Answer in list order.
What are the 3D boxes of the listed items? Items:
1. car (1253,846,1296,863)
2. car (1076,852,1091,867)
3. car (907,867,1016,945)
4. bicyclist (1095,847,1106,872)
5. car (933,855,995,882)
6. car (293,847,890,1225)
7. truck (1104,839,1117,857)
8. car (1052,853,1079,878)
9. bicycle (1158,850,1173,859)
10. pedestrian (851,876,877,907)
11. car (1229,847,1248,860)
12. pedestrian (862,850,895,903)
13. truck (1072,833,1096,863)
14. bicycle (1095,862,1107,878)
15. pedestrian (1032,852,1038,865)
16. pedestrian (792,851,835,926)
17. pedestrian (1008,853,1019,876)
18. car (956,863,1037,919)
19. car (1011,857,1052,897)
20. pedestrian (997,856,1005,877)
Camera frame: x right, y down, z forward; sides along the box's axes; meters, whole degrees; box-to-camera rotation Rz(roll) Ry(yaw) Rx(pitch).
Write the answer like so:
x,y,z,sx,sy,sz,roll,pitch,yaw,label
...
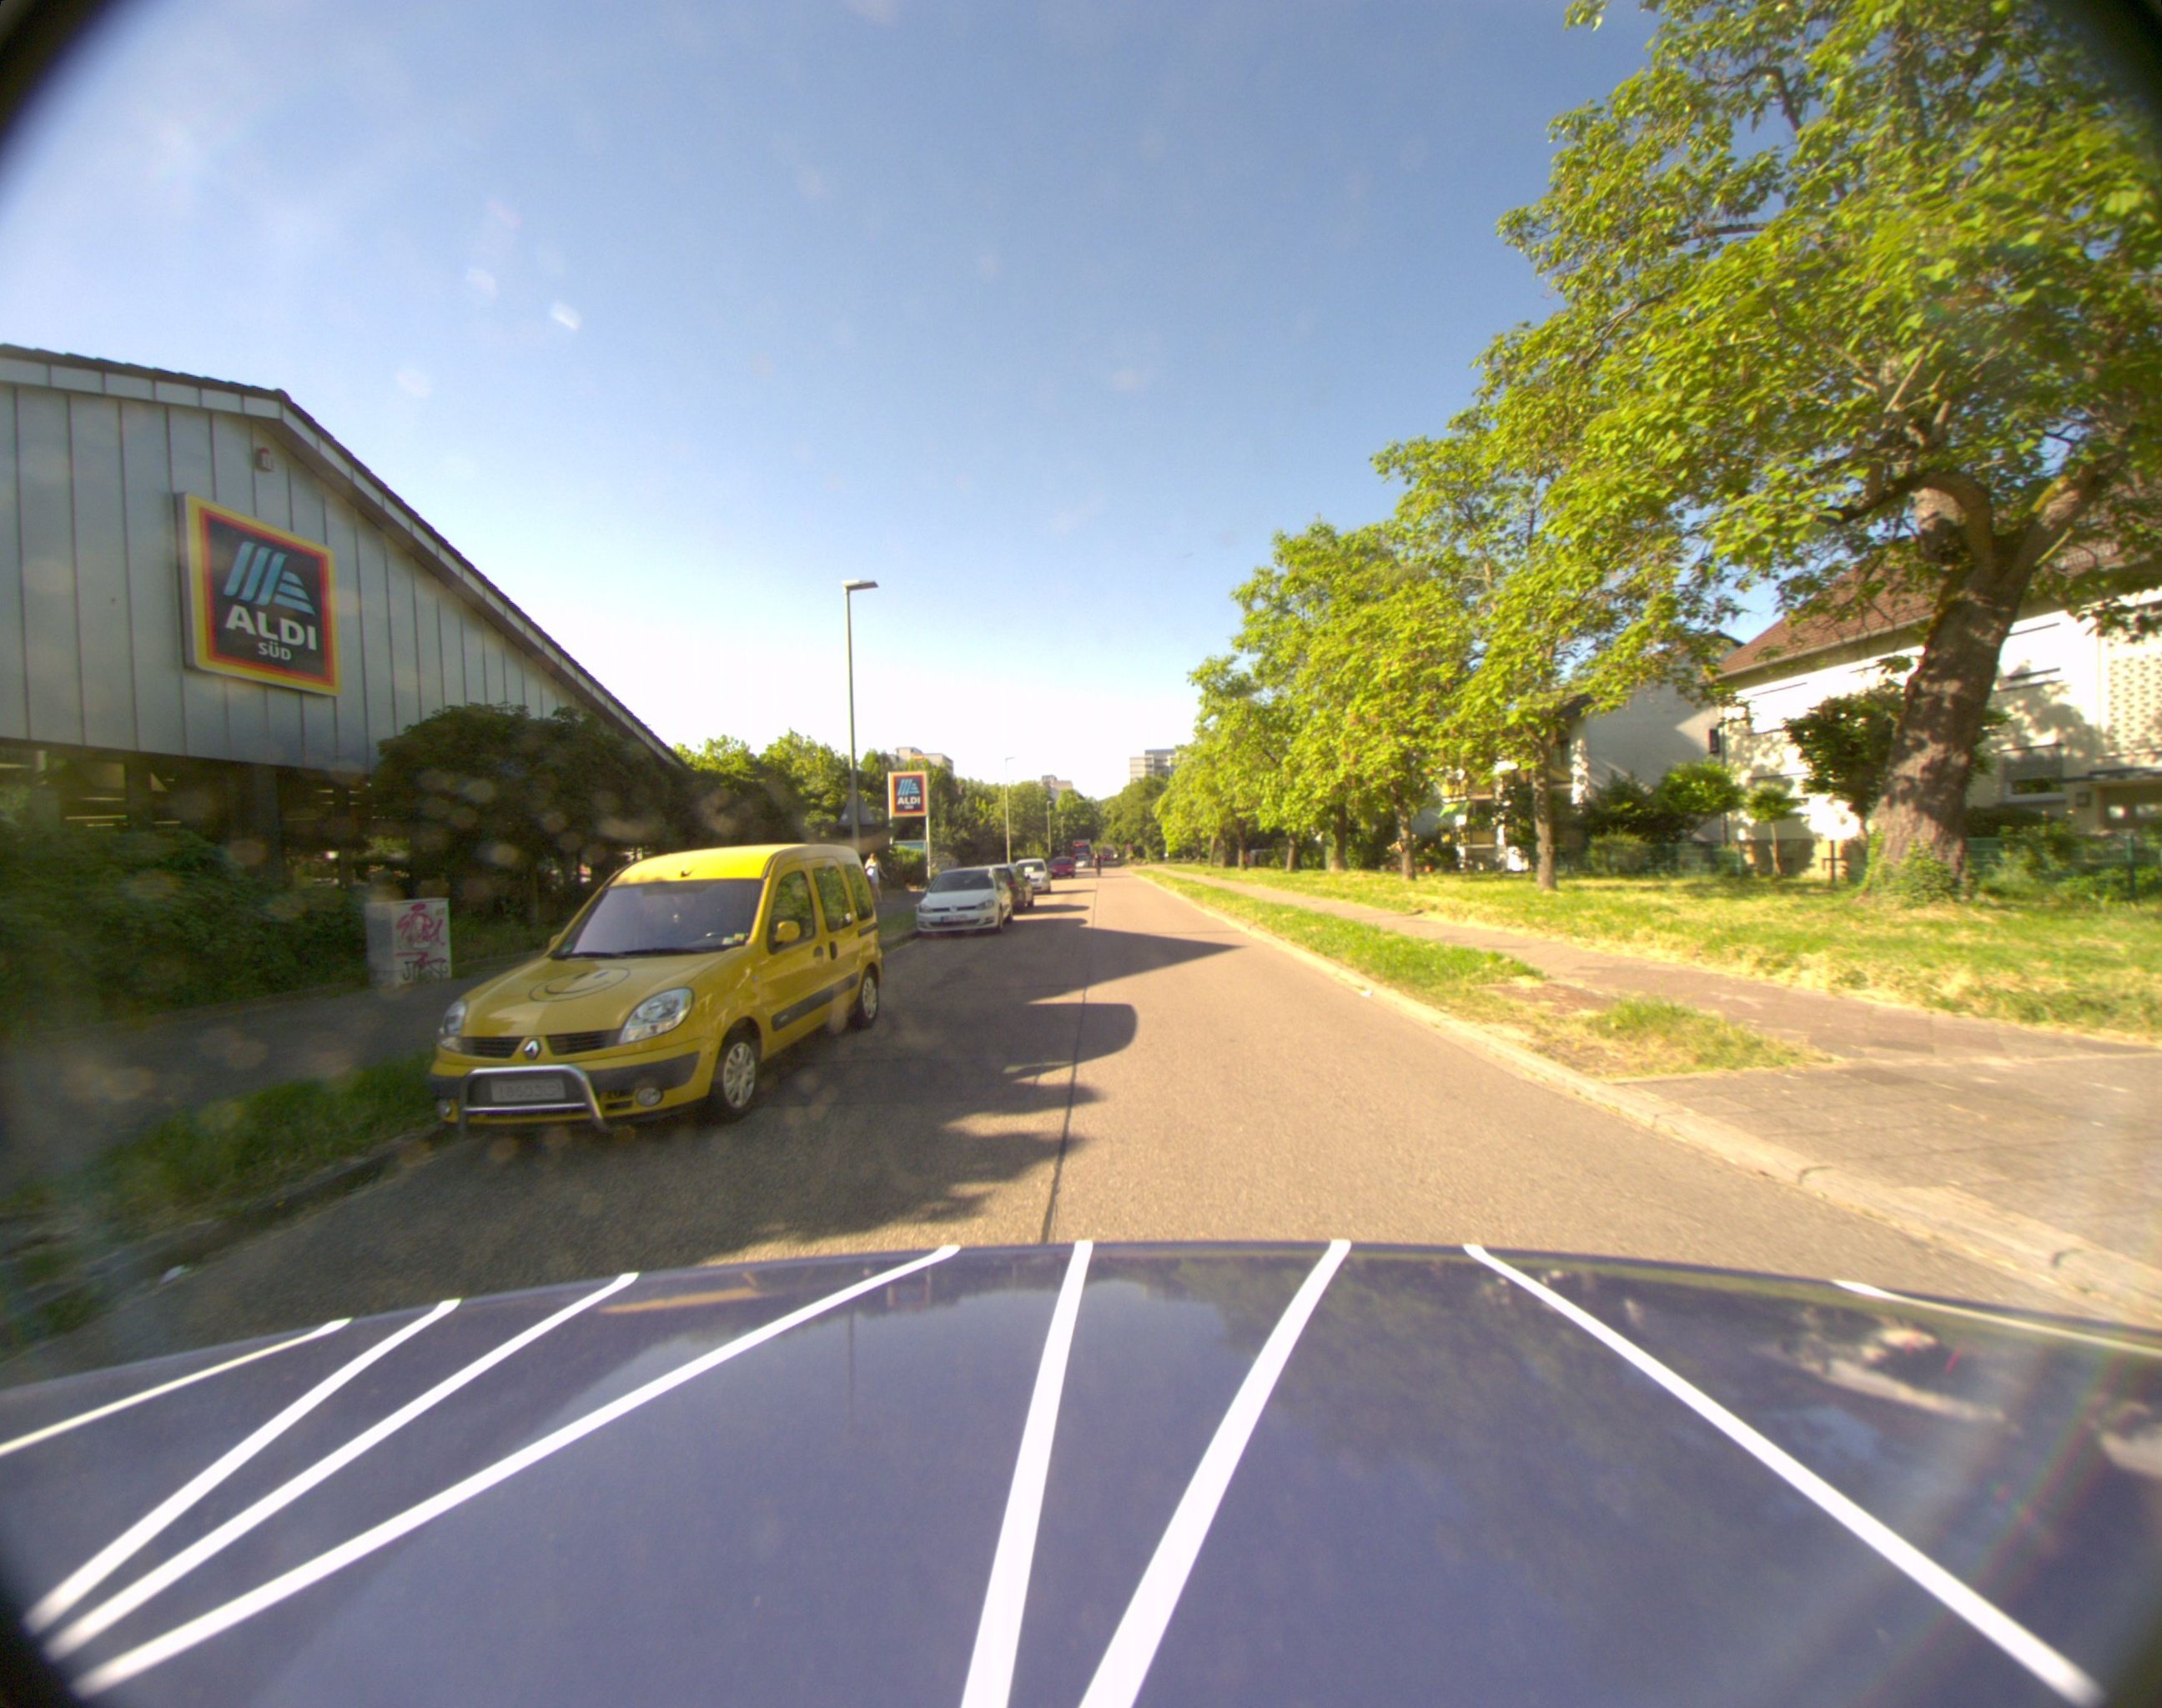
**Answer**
x,y,z,sx,sy,sz,roll,pitch,yaw,label
22.391,0.071,87.987,4.461,1.957,2.070,-1,0,4,car
0.329,0.735,100.838,1.845,1.795,4.029,-2,1,1,car
-2.608,1.100,17.520,1.831,1.443,3.999,-2,1,0,car
1.592,0.479,62.120,0.753,2.002,0.711,-2,1,0,bicyclist
-7.606,0.930,49.387,3.758,1.635,1.853,-1,0,-17,car
-2.921,0.892,5.745,1.728,1.827,4.000,-2,1,3,car
7.026,-1.534,181.409,2.803,3.996,9.623,0,2,0,truck
-1.181,0.889,60.982,1.844,1.795,4.654,-2,1,3,car
11.471,0.130,103.256,1.902,1.146,0.760,-1,4,12,bicycle
-7.274,1.245,25.490,0.533,0.975,0.811,-2,1,9,pedestrian
20.258,-0.050,97.809,1.674,1.479,3.884,-1,2,1,car
-6.992,0.769,26.302,0.800,1.771,0.809,-1,0,10,pedestrian
0.588,-0.989,116.710,3.166,4.320,10.584,-1,1,2,truck
1.622,1.270,61.960,0.863,1.164,3.031,-2,1,1,bicycle
-5.859,0.609,95.930,0.641,1.629,0.641,-1,1,4,pedestrian
-6.817,0.860,19.415,0.796,1.850,0.874,-2,1,-6,pedestrian
-5.120,0.814,57.591,0.806,1.707,0.983,0,2,-2,pedestrian
-2.481,1.048,23.328,1.812,1.435,4.363,-2,0,2,car
-2.192,0.989,34.706,1.684,1.590,4.027,-2,1,-2,car
-6.060,0.949,57.503,0.574,1.600,0.792,0,2,-2,pedestrian
